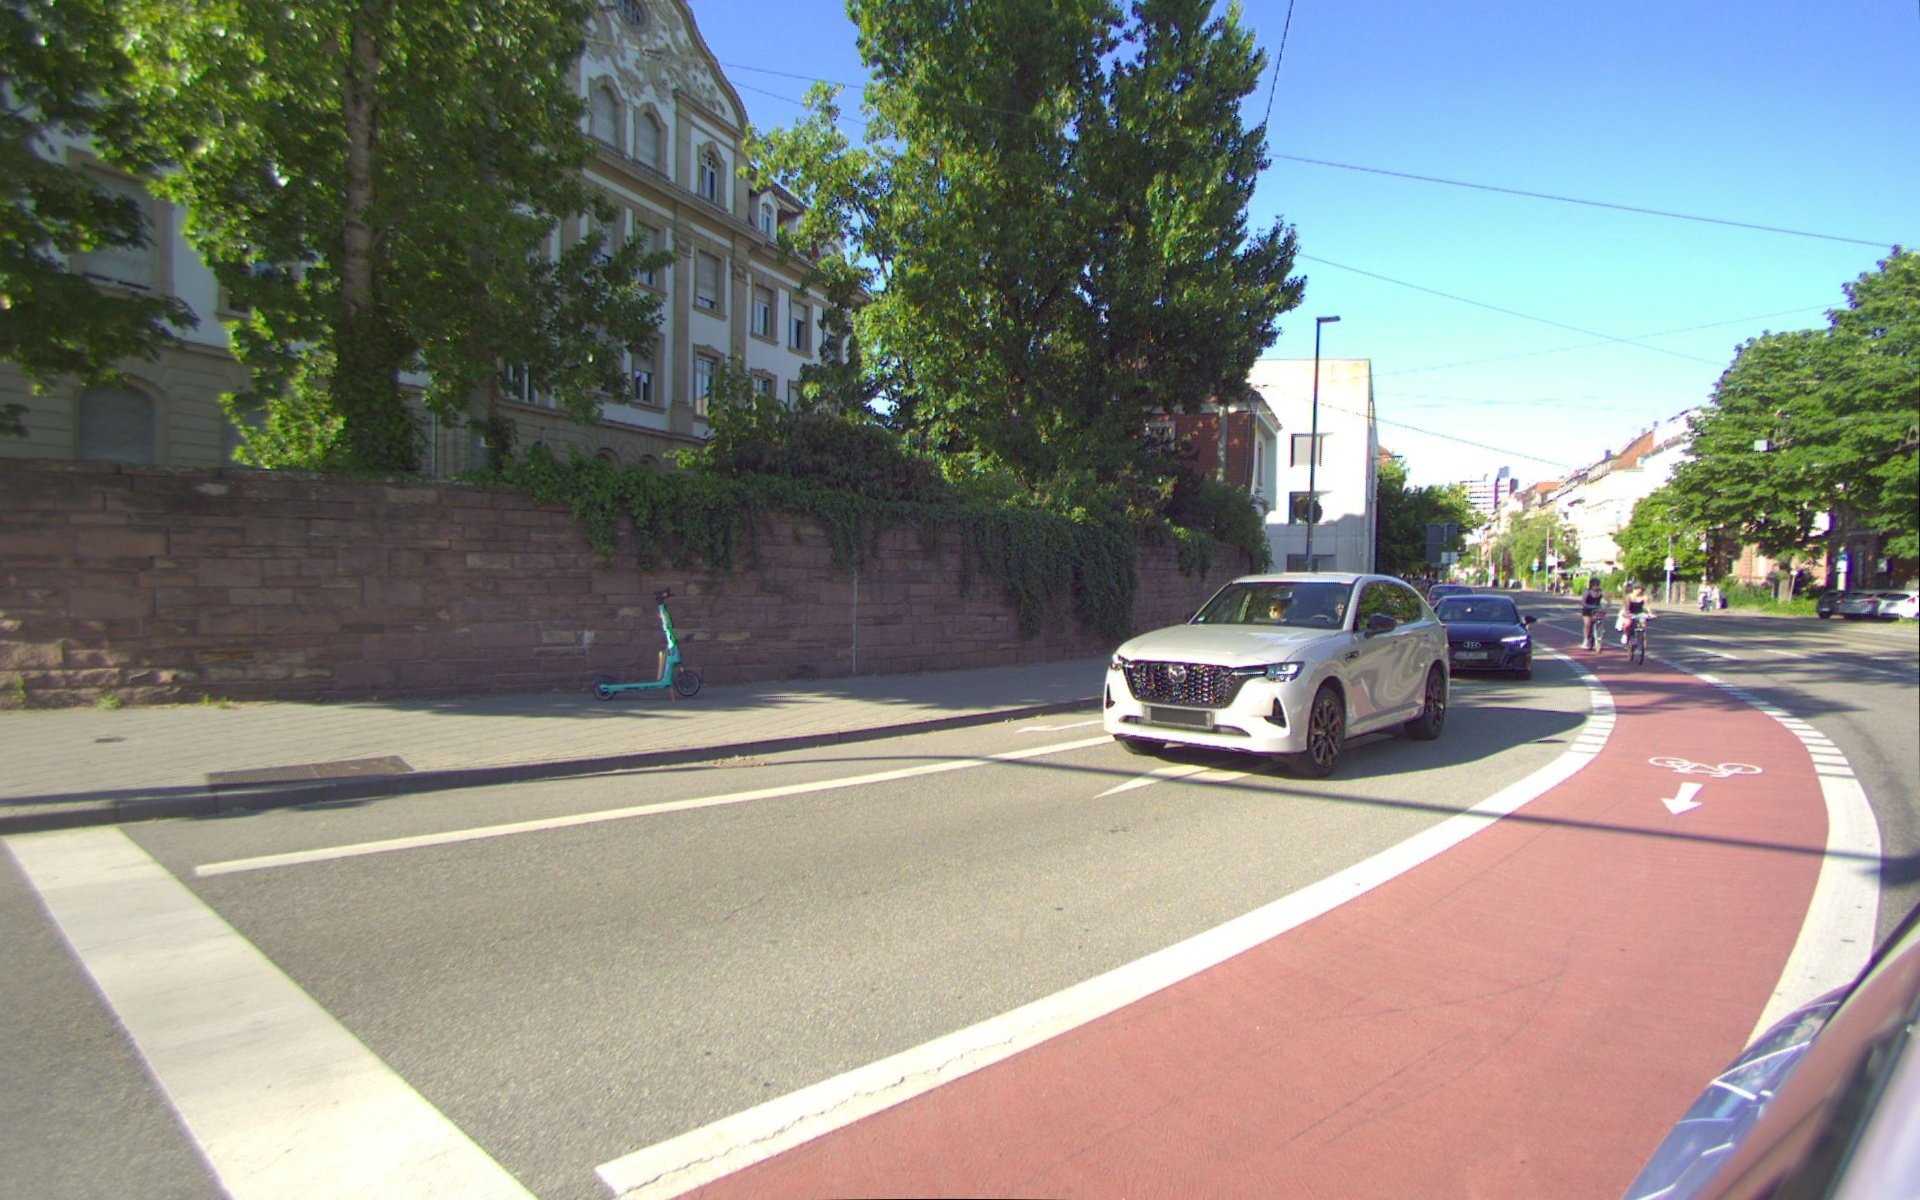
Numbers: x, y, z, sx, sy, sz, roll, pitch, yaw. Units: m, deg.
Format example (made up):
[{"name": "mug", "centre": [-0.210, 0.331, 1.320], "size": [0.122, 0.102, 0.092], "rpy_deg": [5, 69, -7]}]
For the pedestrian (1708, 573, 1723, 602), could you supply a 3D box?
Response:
[{"name": "pedestrian", "centre": [43.839, -0.740, 58.724], "size": [0.671, 1.668, 0.808], "rpy_deg": [1, 1, 34]}]

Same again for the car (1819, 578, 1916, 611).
[{"name": "car", "centre": [44.998, -0.286, 50.217], "size": [3.575, 1.580, 1.653], "rpy_deg": [-1, 1, -8]}]

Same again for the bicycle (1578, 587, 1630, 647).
[{"name": "bicycle", "centre": [14.865, 0.361, 23.395], "size": [0.669, 1.265, 2.436], "rpy_deg": [2, 2, 25]}]

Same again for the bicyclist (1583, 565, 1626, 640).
[{"name": "bicyclist", "centre": [14.830, 0.034, 23.299], "size": [0.669, 1.667, 1.020], "rpy_deg": [2, 2, 26]}]

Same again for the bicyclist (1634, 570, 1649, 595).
[{"name": "bicyclist", "centre": [46.332, -1.220, 68.825], "size": [0.669, 1.667, 1.020], "rpy_deg": [2, 2, 26]}]

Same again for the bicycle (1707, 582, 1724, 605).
[{"name": "bicycle", "centre": [43.842, -0.381, 58.736], "size": [0.672, 1.266, 2.427], "rpy_deg": [1, 2, 34]}]

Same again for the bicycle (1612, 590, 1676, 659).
[{"name": "bicycle", "centre": [13.849, 0.455, 20.542], "size": [0.669, 1.265, 2.436], "rpy_deg": [2, 2, 25]}]

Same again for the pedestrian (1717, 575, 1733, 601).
[{"name": "pedestrian", "centre": [49.350, -0.776, 65.300], "size": [0.669, 1.668, 0.810], "rpy_deg": [1, 1, 25]}]

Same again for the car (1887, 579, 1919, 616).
[{"name": "car", "centre": [43.274, -0.135, 44.622], "size": [3.575, 1.580, 1.653], "rpy_deg": [-1, 1, -8]}]

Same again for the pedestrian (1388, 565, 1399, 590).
[{"name": "pedestrian", "centre": [30.156, -1.568, 70.420], "size": [0.669, 1.668, 0.810], "rpy_deg": [1, 1, 25]}]

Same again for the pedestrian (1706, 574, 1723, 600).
[{"name": "pedestrian", "centre": [48.680, -0.835, 65.310], "size": [0.669, 1.668, 0.810], "rpy_deg": [1, 1, 25]}]

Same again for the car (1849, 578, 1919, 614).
[{"name": "car", "centre": [43.692, -0.196, 47.019], "size": [3.575, 1.580, 1.653], "rpy_deg": [-1, 1, -8]}]

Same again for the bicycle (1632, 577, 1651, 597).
[{"name": "bicycle", "centre": [46.305, -0.890, 68.793], "size": [0.669, 1.265, 2.436], "rpy_deg": [2, 2, 25]}]

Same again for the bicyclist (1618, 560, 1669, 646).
[{"name": "bicyclist", "centre": [13.863, 0.043, 20.552], "size": [0.669, 1.667, 1.020], "rpy_deg": [2, 2, 26]}]

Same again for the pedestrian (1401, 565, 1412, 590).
[{"name": "pedestrian", "centre": [30.823, -1.559, 69.875], "size": [0.669, 1.668, 0.810], "rpy_deg": [1, 1, 25]}]

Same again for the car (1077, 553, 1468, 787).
[{"name": "car", "centre": [3.204, 0.463, 9.738], "size": [1.939, 1.713, 4.464], "rpy_deg": [0, 1, 42]}]

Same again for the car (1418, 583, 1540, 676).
[{"name": "car", "centre": [9.400, 0.439, 18.342], "size": [1.773, 1.451, 3.961], "rpy_deg": [0, 1, 28]}]

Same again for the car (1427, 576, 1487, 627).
[{"name": "car", "centre": [16.310, 0.002, 33.131], "size": [1.635, 1.580, 3.615], "rpy_deg": [0, 1, 28]}]

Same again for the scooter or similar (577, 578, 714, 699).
[{"name": "scooter or similar", "centre": [-3.522, 0.407, 11.325], "size": [1.394, 1.285, 0.577], "rpy_deg": [0, 2, -24]}]
